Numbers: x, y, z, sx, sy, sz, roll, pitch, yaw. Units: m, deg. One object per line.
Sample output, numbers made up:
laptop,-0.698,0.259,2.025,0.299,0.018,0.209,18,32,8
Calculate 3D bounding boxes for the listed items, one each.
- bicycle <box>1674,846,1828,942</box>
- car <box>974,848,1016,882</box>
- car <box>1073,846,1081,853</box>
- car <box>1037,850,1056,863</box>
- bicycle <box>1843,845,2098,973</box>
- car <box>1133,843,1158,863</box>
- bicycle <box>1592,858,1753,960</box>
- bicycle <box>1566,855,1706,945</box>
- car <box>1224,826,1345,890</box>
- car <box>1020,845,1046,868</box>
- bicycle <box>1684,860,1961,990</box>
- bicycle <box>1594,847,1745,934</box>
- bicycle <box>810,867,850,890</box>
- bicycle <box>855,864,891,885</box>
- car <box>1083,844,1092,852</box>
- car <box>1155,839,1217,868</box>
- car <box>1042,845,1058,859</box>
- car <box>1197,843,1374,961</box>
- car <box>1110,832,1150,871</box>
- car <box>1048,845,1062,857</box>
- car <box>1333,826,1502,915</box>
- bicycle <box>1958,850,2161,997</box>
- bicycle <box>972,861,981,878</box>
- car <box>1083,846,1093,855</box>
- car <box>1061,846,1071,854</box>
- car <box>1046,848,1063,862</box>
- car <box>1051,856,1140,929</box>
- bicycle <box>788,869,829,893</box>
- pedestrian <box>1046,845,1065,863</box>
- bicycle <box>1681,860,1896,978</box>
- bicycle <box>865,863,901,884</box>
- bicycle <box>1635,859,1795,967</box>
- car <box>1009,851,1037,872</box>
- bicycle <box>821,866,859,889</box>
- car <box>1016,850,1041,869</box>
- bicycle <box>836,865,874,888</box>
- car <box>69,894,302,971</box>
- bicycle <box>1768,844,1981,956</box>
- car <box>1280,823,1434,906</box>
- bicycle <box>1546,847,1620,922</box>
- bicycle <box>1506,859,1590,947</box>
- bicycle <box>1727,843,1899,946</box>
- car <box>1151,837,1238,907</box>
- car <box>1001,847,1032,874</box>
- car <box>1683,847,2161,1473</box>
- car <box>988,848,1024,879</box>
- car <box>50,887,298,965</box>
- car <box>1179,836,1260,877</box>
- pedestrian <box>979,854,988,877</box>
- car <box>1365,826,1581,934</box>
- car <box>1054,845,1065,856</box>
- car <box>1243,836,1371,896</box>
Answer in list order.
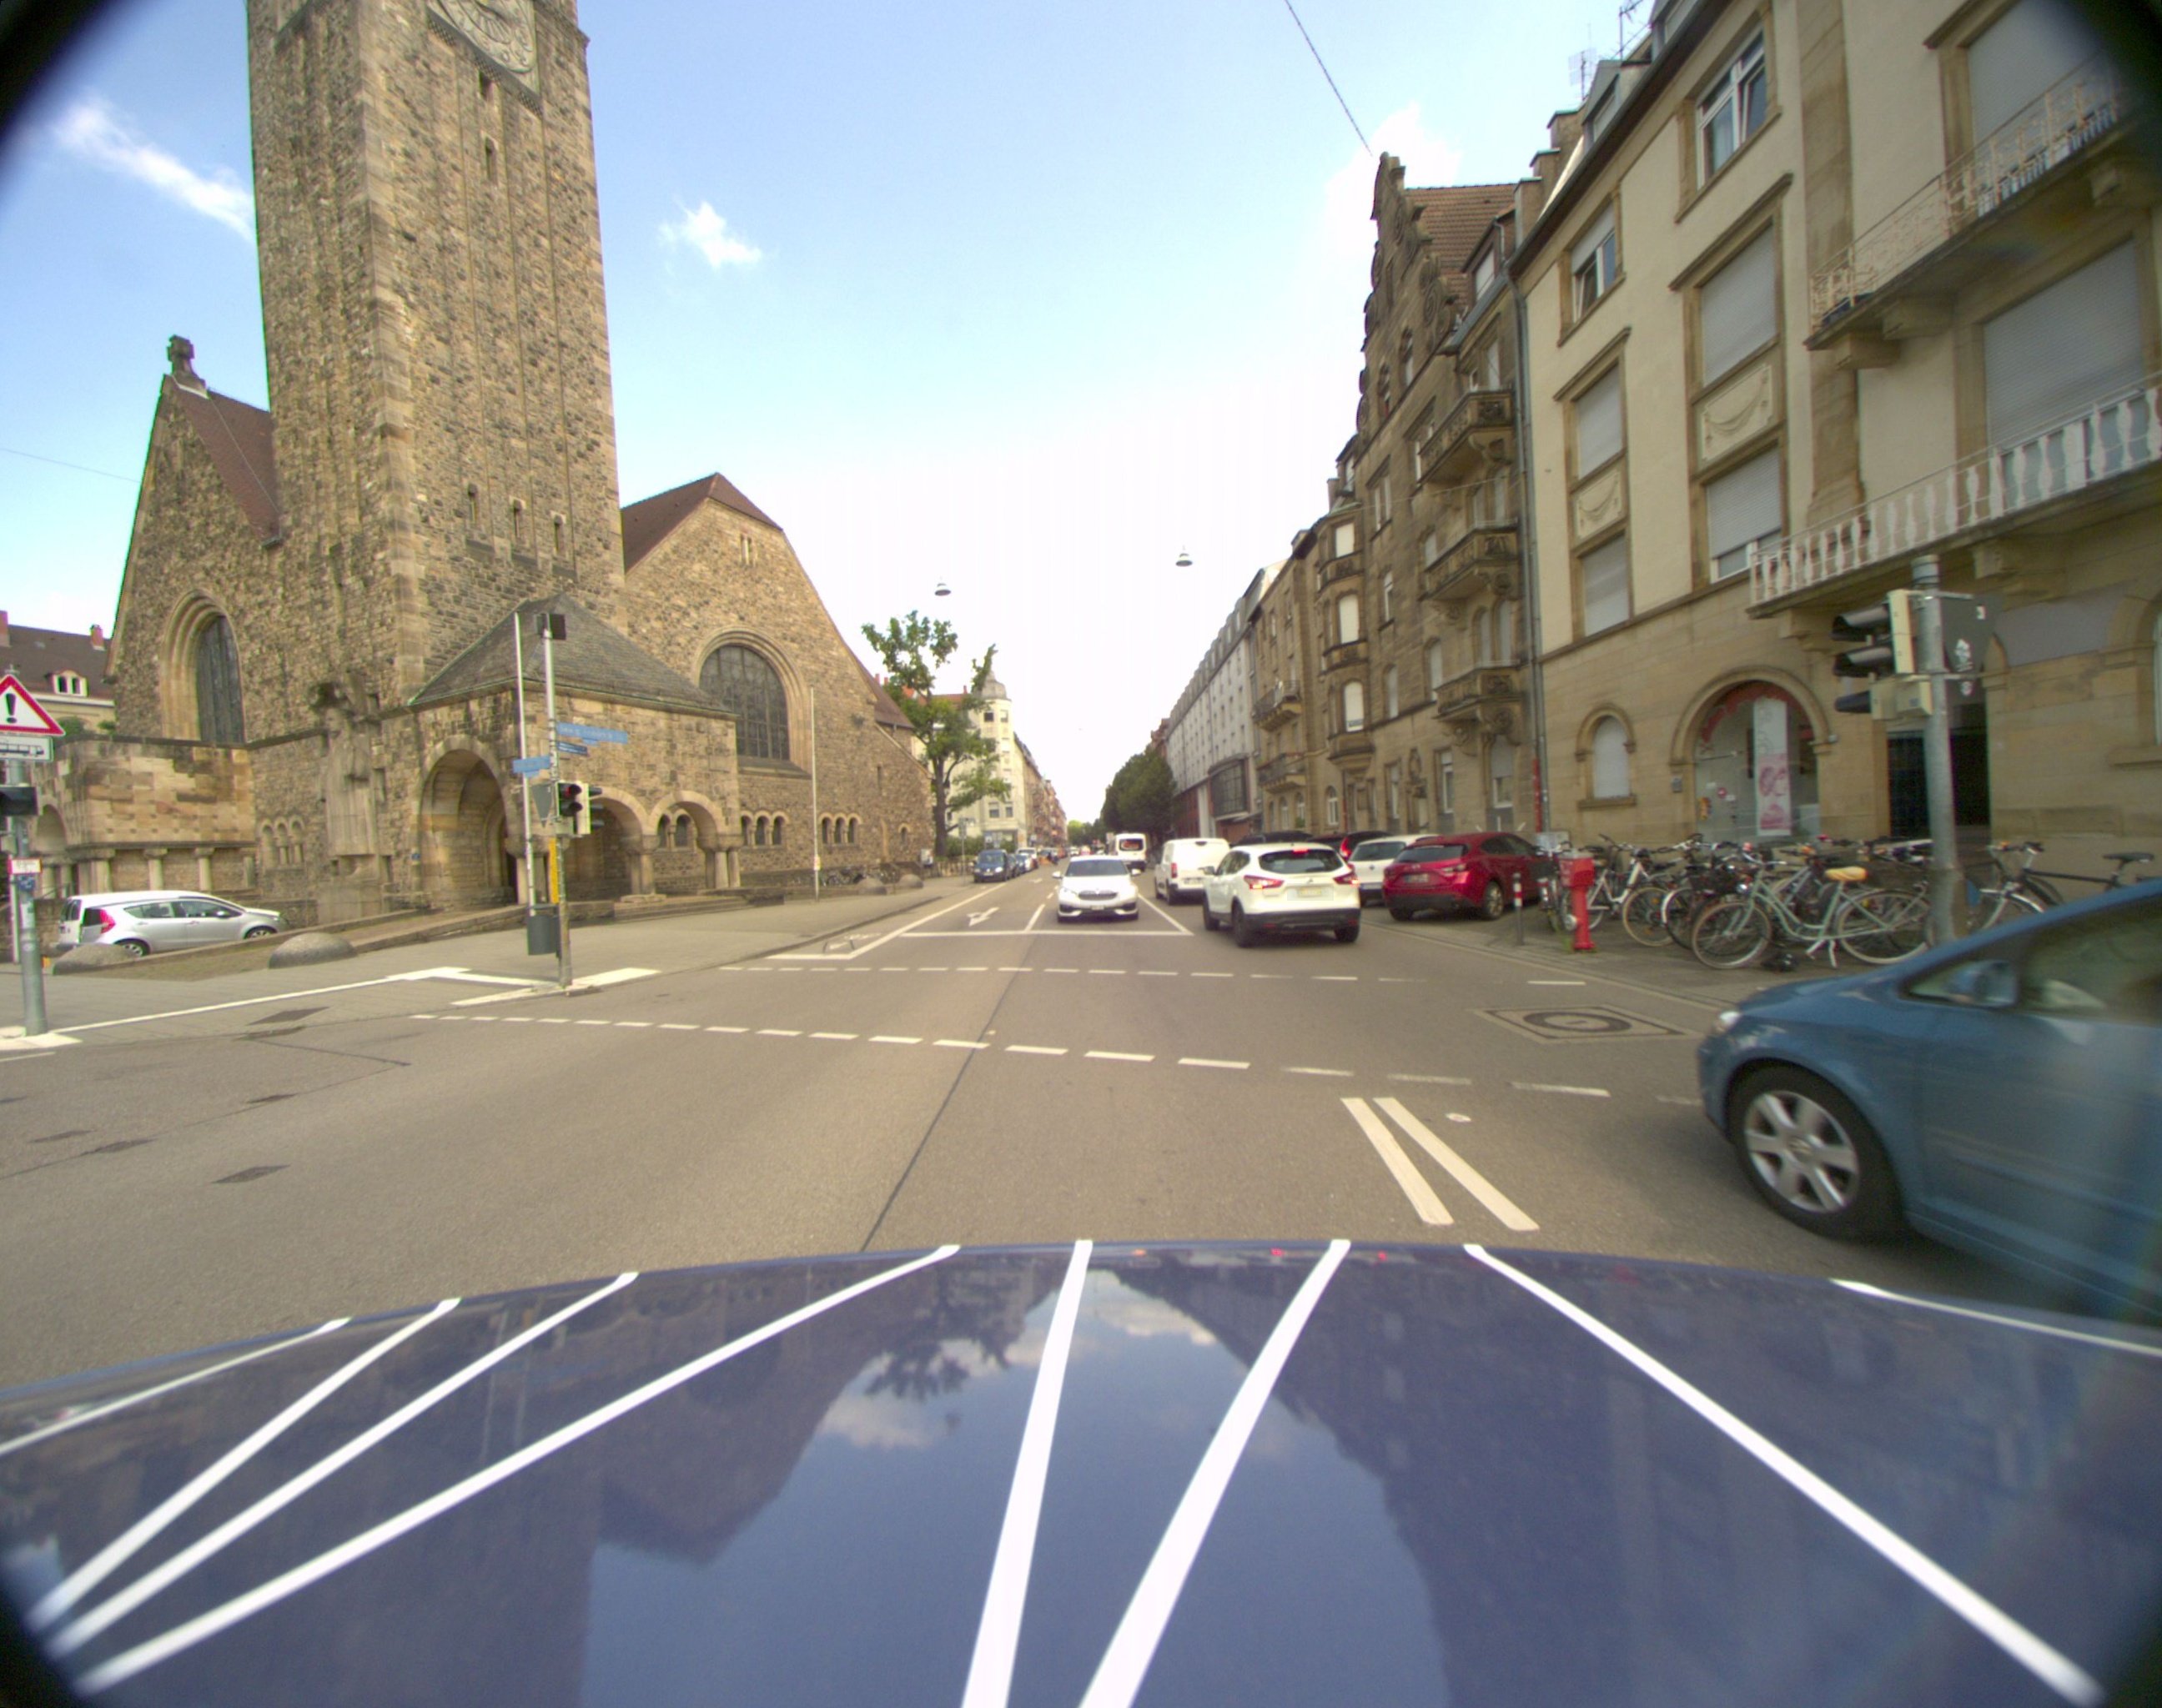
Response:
bicycle,8.428,0.489,9.581,1.483,1.046,0.462,-5,1,-2
car,-4.851,0.586,43.205,1.683,1.781,4.145,-3,1,2
car,-0.940,-1.065,177.958,1.809,1.654,4.186,-3,1,2
car,-3.952,0.227,87.347,1.809,1.360,4.186,-3,1,2
bicycle,8.381,0.515,7.207,1.612,1.046,0.481,-5,1,8
car,5.606,-0.121,66.620,1.891,1.556,3.890,-3,1,2
bicycle,7.030,0.646,9.062,1.483,1.046,0.462,-5,1,1
bicycle,7.362,0.596,10.104,1.483,1.046,0.462,-5,1,-2
car,7.144,0.116,26.585,3.959,1.857,1.727,-6,1,-33
car,-4.395,0.212,69.956,1.844,1.927,4.186,-3,1,2
bicycle,6.768,0.658,7.032,1.733,1.046,0.531,-5,1,17
bicycle,8.278,0.497,10.718,1.631,1.046,0.558,-5,1,0
bicycle,-12.687,1.245,38.425,1.935,1.106,0.587,0,3,22
bicycle,-11.328,1.112,41.401,1.935,1.106,0.587,0,3,22
car,1.330,-1.281,161.811,1.809,1.590,4.186,-3,1,2
car,7.096,-0.029,51.115,3.960,1.576,1.727,-5,0,-38
car,-4.116,-0.328,101.703,1.809,1.756,4.186,-3,1,2
car,3.179,0.696,12.650,1.775,1.573,4.020,-2,-1,-1
car,3.225,-0.127,51.126,2.082,2.430,5.945,-2,0,-1
car,-3.883,-0.435,115.047,1.809,1.756,4.186,-3,1,2
car,7.513,0.328,16.793,3.960,1.448,1.727,-7,0,-40
bicycle,8.249,0.555,6.177,1.441,1.046,0.481,-5,1,10
bicycle,-6.887,1.000,50.112,0.480,1.046,1.442,-3,1,-4
car,1.440,-0.753,154.557,1.809,1.590,4.186,-3,1,2
car,-3.351,-0.842,168.354,1.809,1.756,4.186,-3,1,2
car,-3.340,0.057,97.459,1.809,1.675,4.186,-3,1,2
car,0.376,0.818,18.128,1.826,1.440,4.386,-2,1,2
bicycle,-13.263,1.305,36.956,1.935,1.106,0.587,0,3,22
pedestrian,-2.580,0.022,77.649,1.316,1.747,1.370,-4,1,-39
bicycle,7.250,0.659,7.839,1.580,1.046,0.481,-5,1,8
bicycle,-10.981,1.078,42.127,1.935,1.106,0.587,0,3,22
bicycle,7.113,0.650,8.548,1.372,1.046,0.418,-6,1,-1
car,-4.517,0.568,59.442,1.683,1.438,3.798,-3,1,2
bicycle,-12.403,1.216,39.084,1.935,1.106,0.587,0,3,22
car,-4.444,0.451,65.067,1.683,1.488,3.890,-3,1,2
bicycle,-11.877,1.170,39.943,1.935,1.106,0.587,0,3,22
car,-24.048,2.052,20.583,1.815,1.668,3.643,-4,-1,23
bicycle,8.513,0.487,8.199,1.580,1.046,0.481,-5,1,8
car,7.217,0.240,19.736,3.960,1.680,1.799,-6,0,-38
bicycle,8.366,0.482,12.625,1.908,1.046,0.556,-6,1,-44
bicycle,6.784,0.672,10.999,1.815,1.046,0.556,-6,1,-45
bicycle,8.573,0.466,8.927,1.483,1.046,0.462,-5,1,2
car,3.173,0.490,22.101,1.817,1.765,4.283,-2,0,0
car,-4.574,0.432,54.613,1.683,1.781,4.000,-3,1,2
car,3.559,0.766,1.408,1.751,1.531,3.931,-1,1,-1
car,-4.750,0.550,48.466,1.683,1.781,4.000,-3,1,2
car,-26.853,2.064,22.700,1.995,1.842,4.312,-4,-1,25
car,7.067,0.102,38.657,3.960,1.576,1.727,-7,0,-38
pedestrian,-6.418,0.749,50.172,0.466,1.447,0.556,-3,1,-4
car,7.174,0.411,13.758,4.006,1.448,1.808,-6,1,-37
car,-4.123,-0.653,144.169,1.809,1.901,4.186,-3,1,2
car,7.186,0.361,24.006,3.960,1.421,1.727,-6,0,-37
